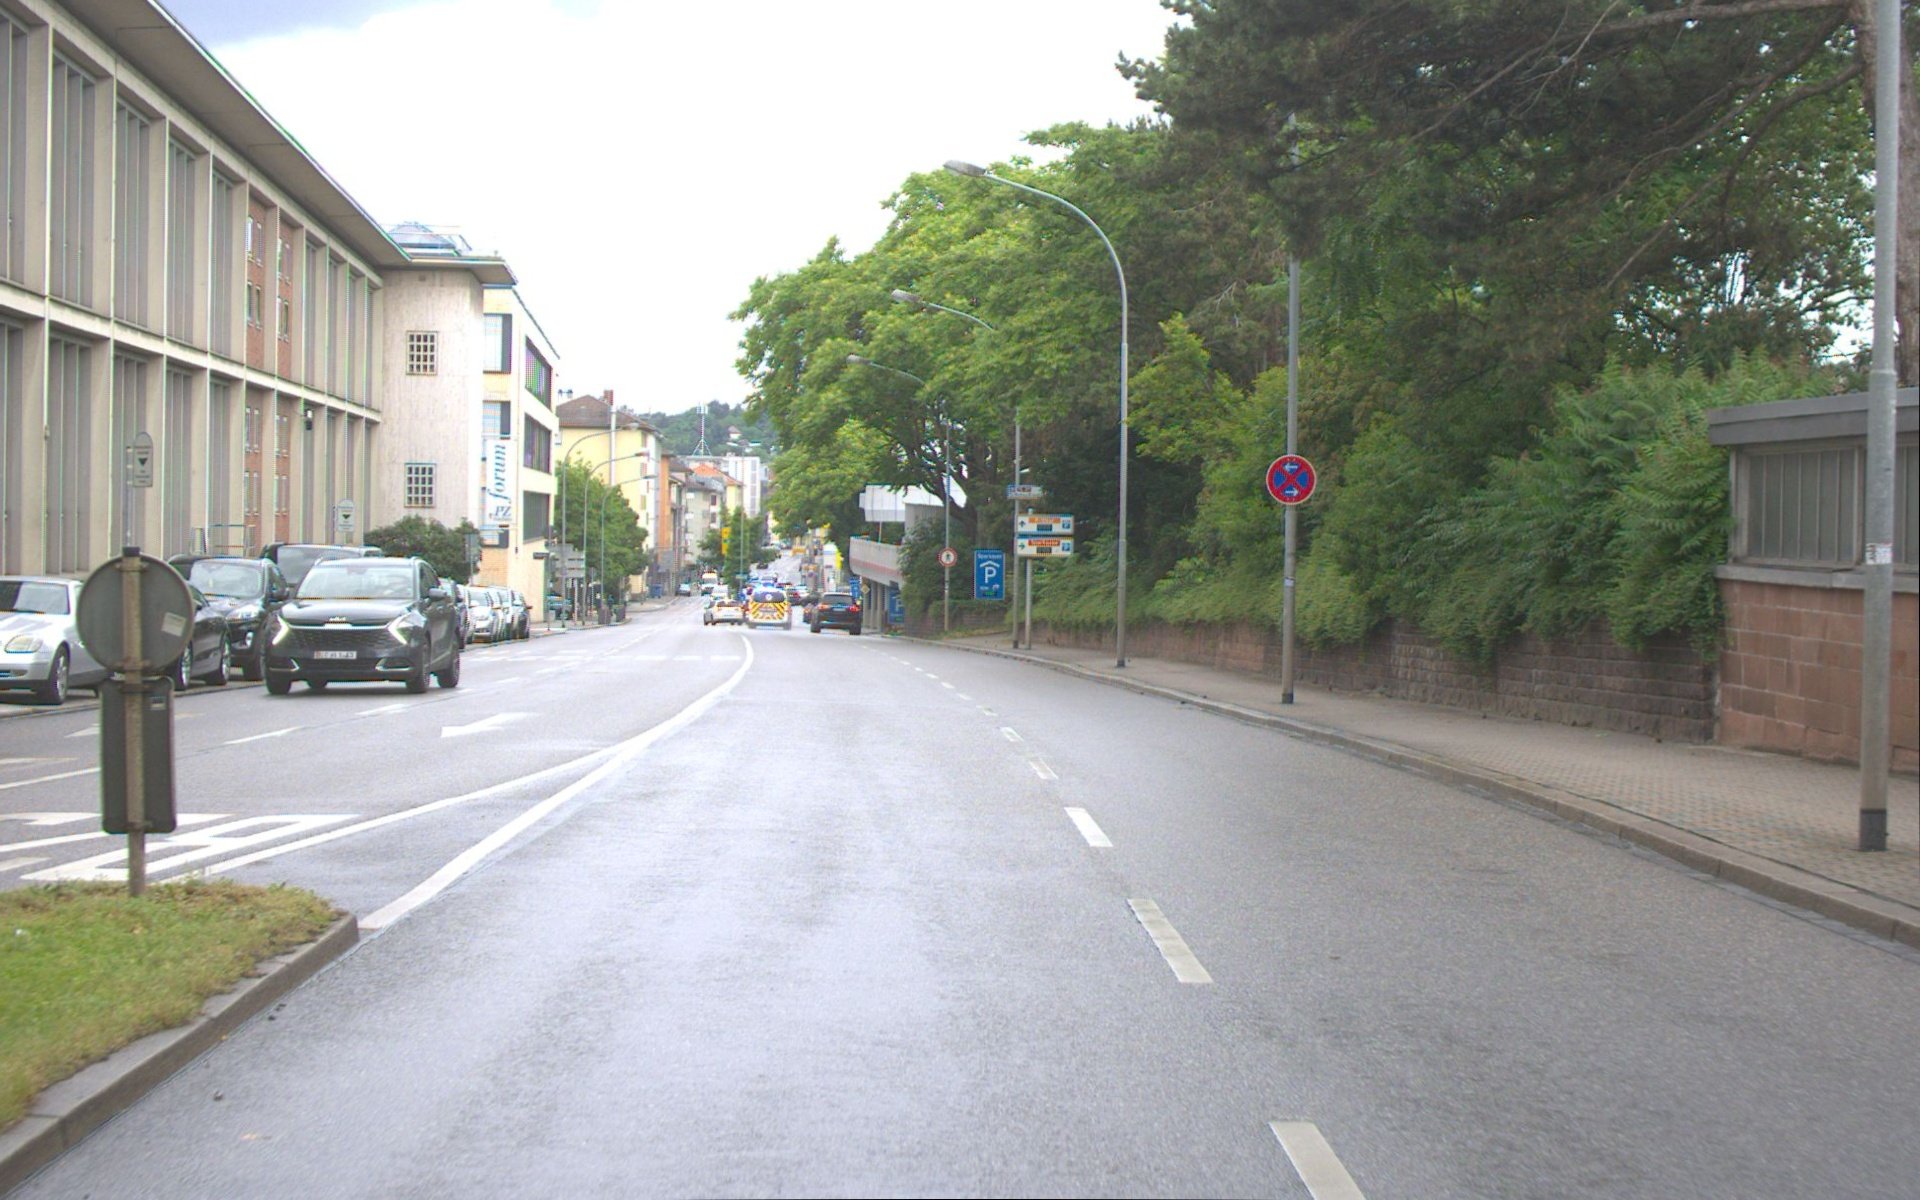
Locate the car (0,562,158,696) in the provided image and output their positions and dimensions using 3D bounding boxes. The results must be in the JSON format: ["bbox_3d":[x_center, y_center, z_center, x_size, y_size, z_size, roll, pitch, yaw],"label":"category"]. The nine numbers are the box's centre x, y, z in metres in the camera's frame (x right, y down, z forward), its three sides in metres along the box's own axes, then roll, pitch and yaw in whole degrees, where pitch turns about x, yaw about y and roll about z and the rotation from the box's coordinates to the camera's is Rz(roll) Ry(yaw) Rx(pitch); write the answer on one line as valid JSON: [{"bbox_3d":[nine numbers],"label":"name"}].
[{"bbox_3d":[-9.762,0.264,35.948,1.691,1.293,4.093,1,1,1],"label":"car"}]

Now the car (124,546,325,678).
[{"bbox_3d":[-9.869,0.135,46.445,1.797,1.670,4.604,1,1,-1],"label":"car"}]

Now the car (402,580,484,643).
[{"bbox_3d":[-12.946,0.280,86.263,1.679,1.517,3.921,1,0,-4],"label":"car"}]

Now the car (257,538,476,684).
[{"bbox_3d":[-7.118,0.094,41.635,1.821,1.655,4.337,0,1,1],"label":"car"}]

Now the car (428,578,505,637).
[{"bbox_3d":[-13.111,0.208,91.488,1.747,1.430,4.487,3,-1,-5],"label":"car"}]

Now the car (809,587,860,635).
[{"bbox_3d":[-5.447,0.464,148.631,2.091,1.904,4.100,-1,1,-3],"label":"car"}]

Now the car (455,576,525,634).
[{"bbox_3d":[-13.954,0.136,102.238,1.748,1.592,4.182,3,0,-4],"label":"car"}]

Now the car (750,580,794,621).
[{"bbox_3d":[-8.814,0.008,161.229,1.993,1.831,4.001,-1,1,-3],"label":"car"}]

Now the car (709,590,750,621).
[{"bbox_3d":[-13.239,0.312,197.012,1.993,1.674,4.001,-1,1,-9],"label":"car"}]

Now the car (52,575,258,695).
[{"bbox_3d":[-9.703,0.392,41.687,1.542,1.349,4.110,1,1,0],"label":"car"}]
